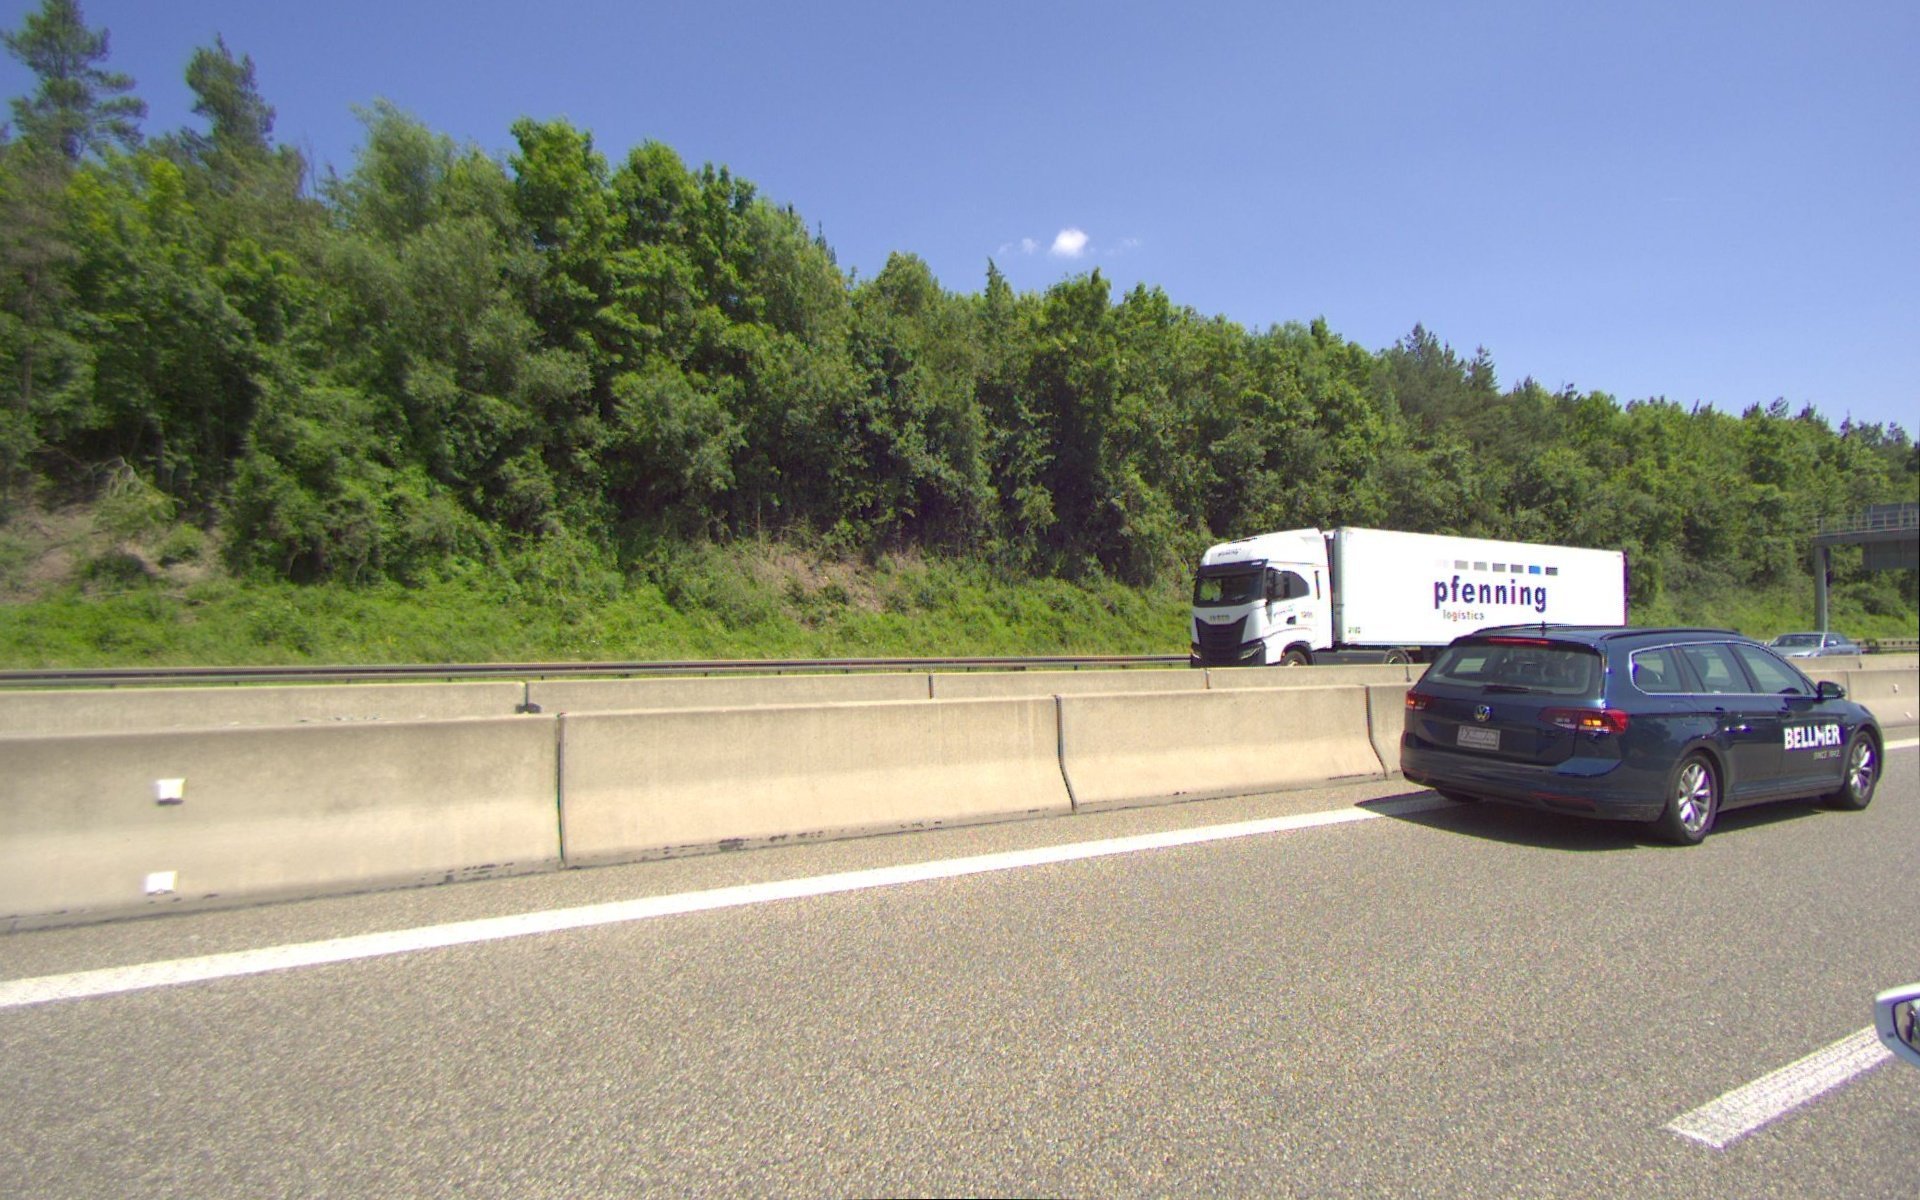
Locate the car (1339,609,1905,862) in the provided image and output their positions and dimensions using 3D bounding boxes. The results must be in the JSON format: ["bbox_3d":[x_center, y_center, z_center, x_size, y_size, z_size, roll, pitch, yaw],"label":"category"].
[{"bbox_3d":[5.331,0.881,7.942,4.623,1.469,1.865,2,0,-30],"label":"car"}]

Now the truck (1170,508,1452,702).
[{"bbox_3d":[9.443,0.246,26.753,7.432,4.541,2.934,2,-1,-31],"label":"truck"}]

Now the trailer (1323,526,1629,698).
[{"bbox_3d":[15.933,0.511,30.592,10.690,4.540,2.935,2,-1,-30],"label":"trailer"}]

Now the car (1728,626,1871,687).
[{"bbox_3d":[26.778,1.804,32.015,4.396,1.786,1.985,2,-1,-28],"label":"car"}]
